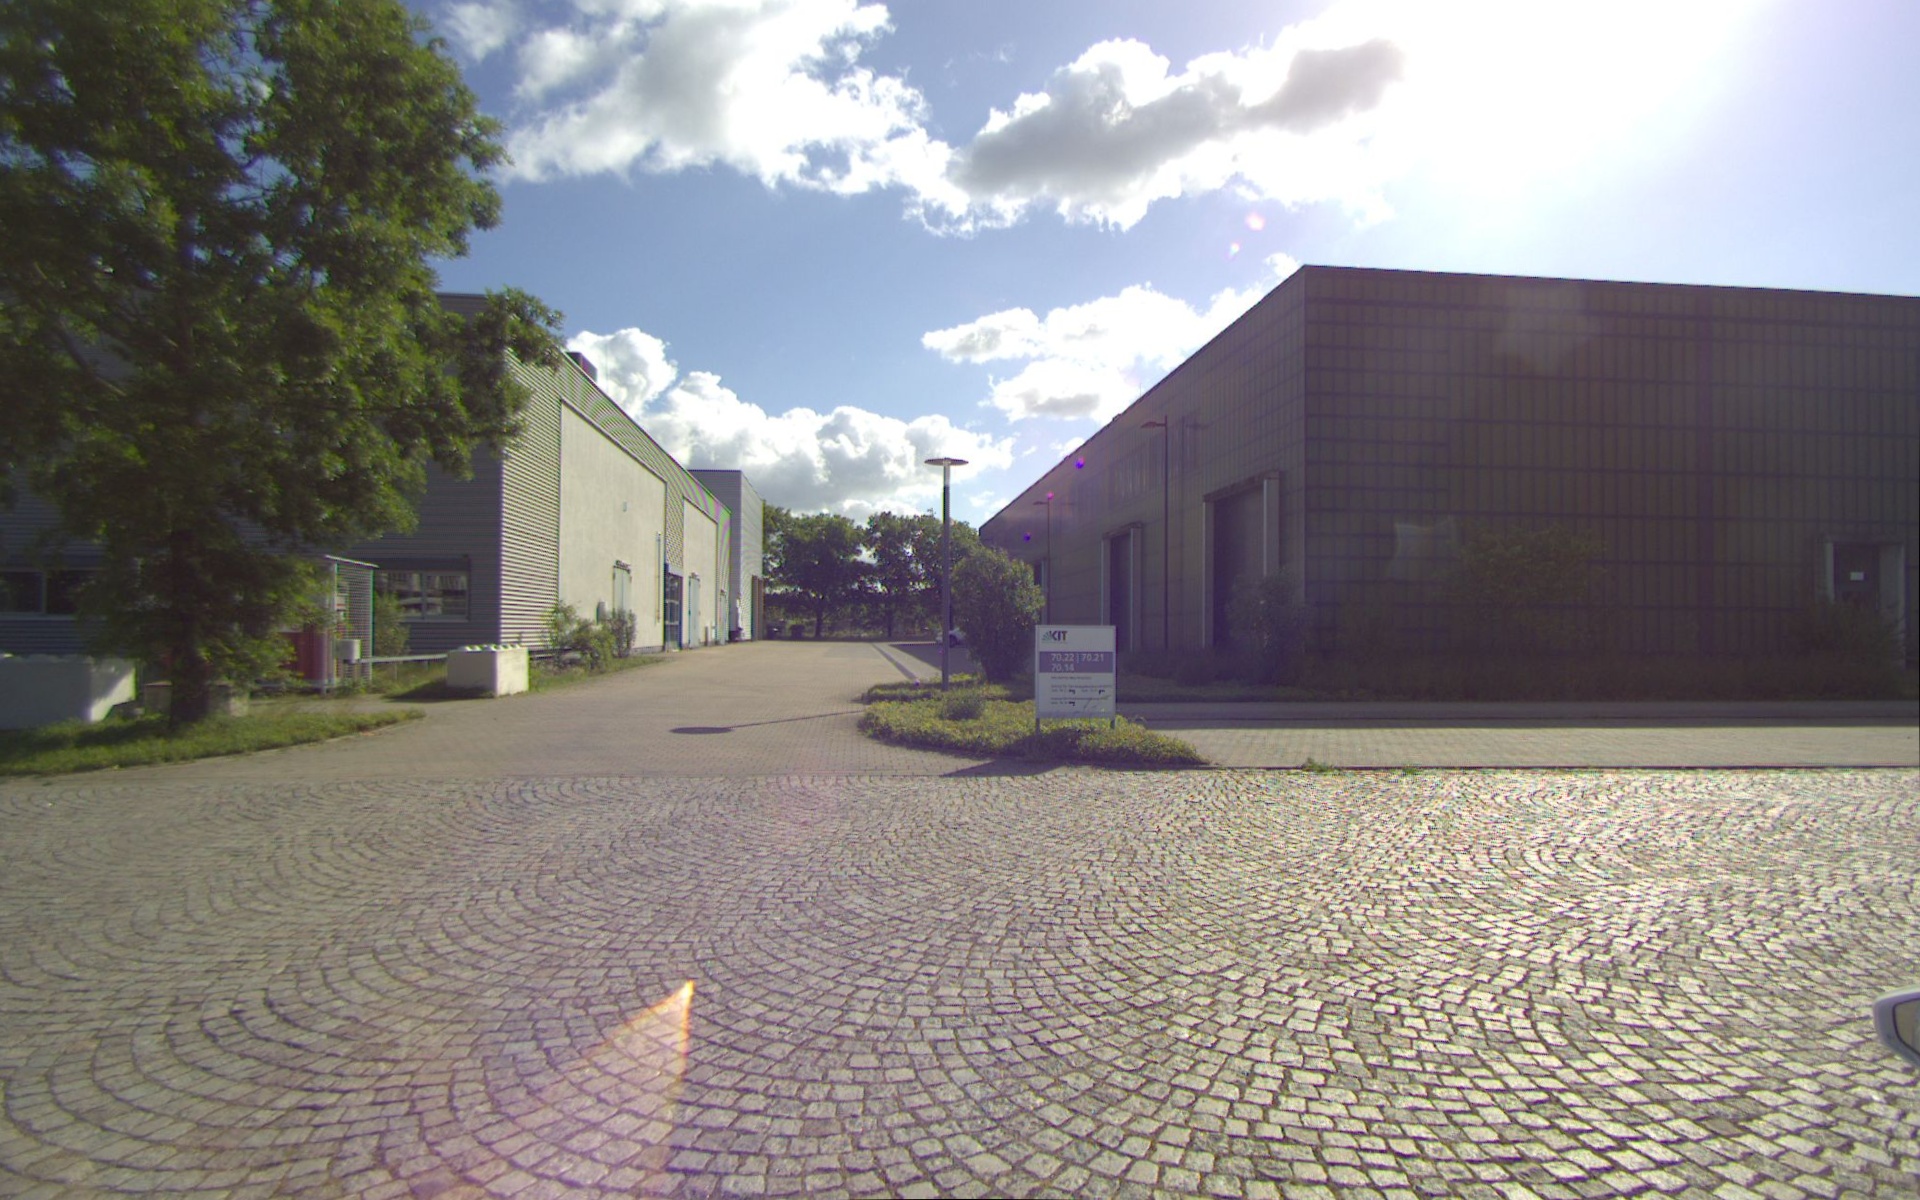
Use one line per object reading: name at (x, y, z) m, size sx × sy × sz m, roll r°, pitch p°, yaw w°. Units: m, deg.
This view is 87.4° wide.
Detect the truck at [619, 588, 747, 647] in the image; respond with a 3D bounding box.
truck at (-18.672, 1.215, 68.121) m, size 7.950 × 3.868 × 2.649 m, roll 0°, pitch -2°, yaw -6°

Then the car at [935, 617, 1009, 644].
car at (0.734, 1.960, 64.283) m, size 4.494 × 1.685 × 1.998 m, roll 1°, pitch -1°, yaw -7°
